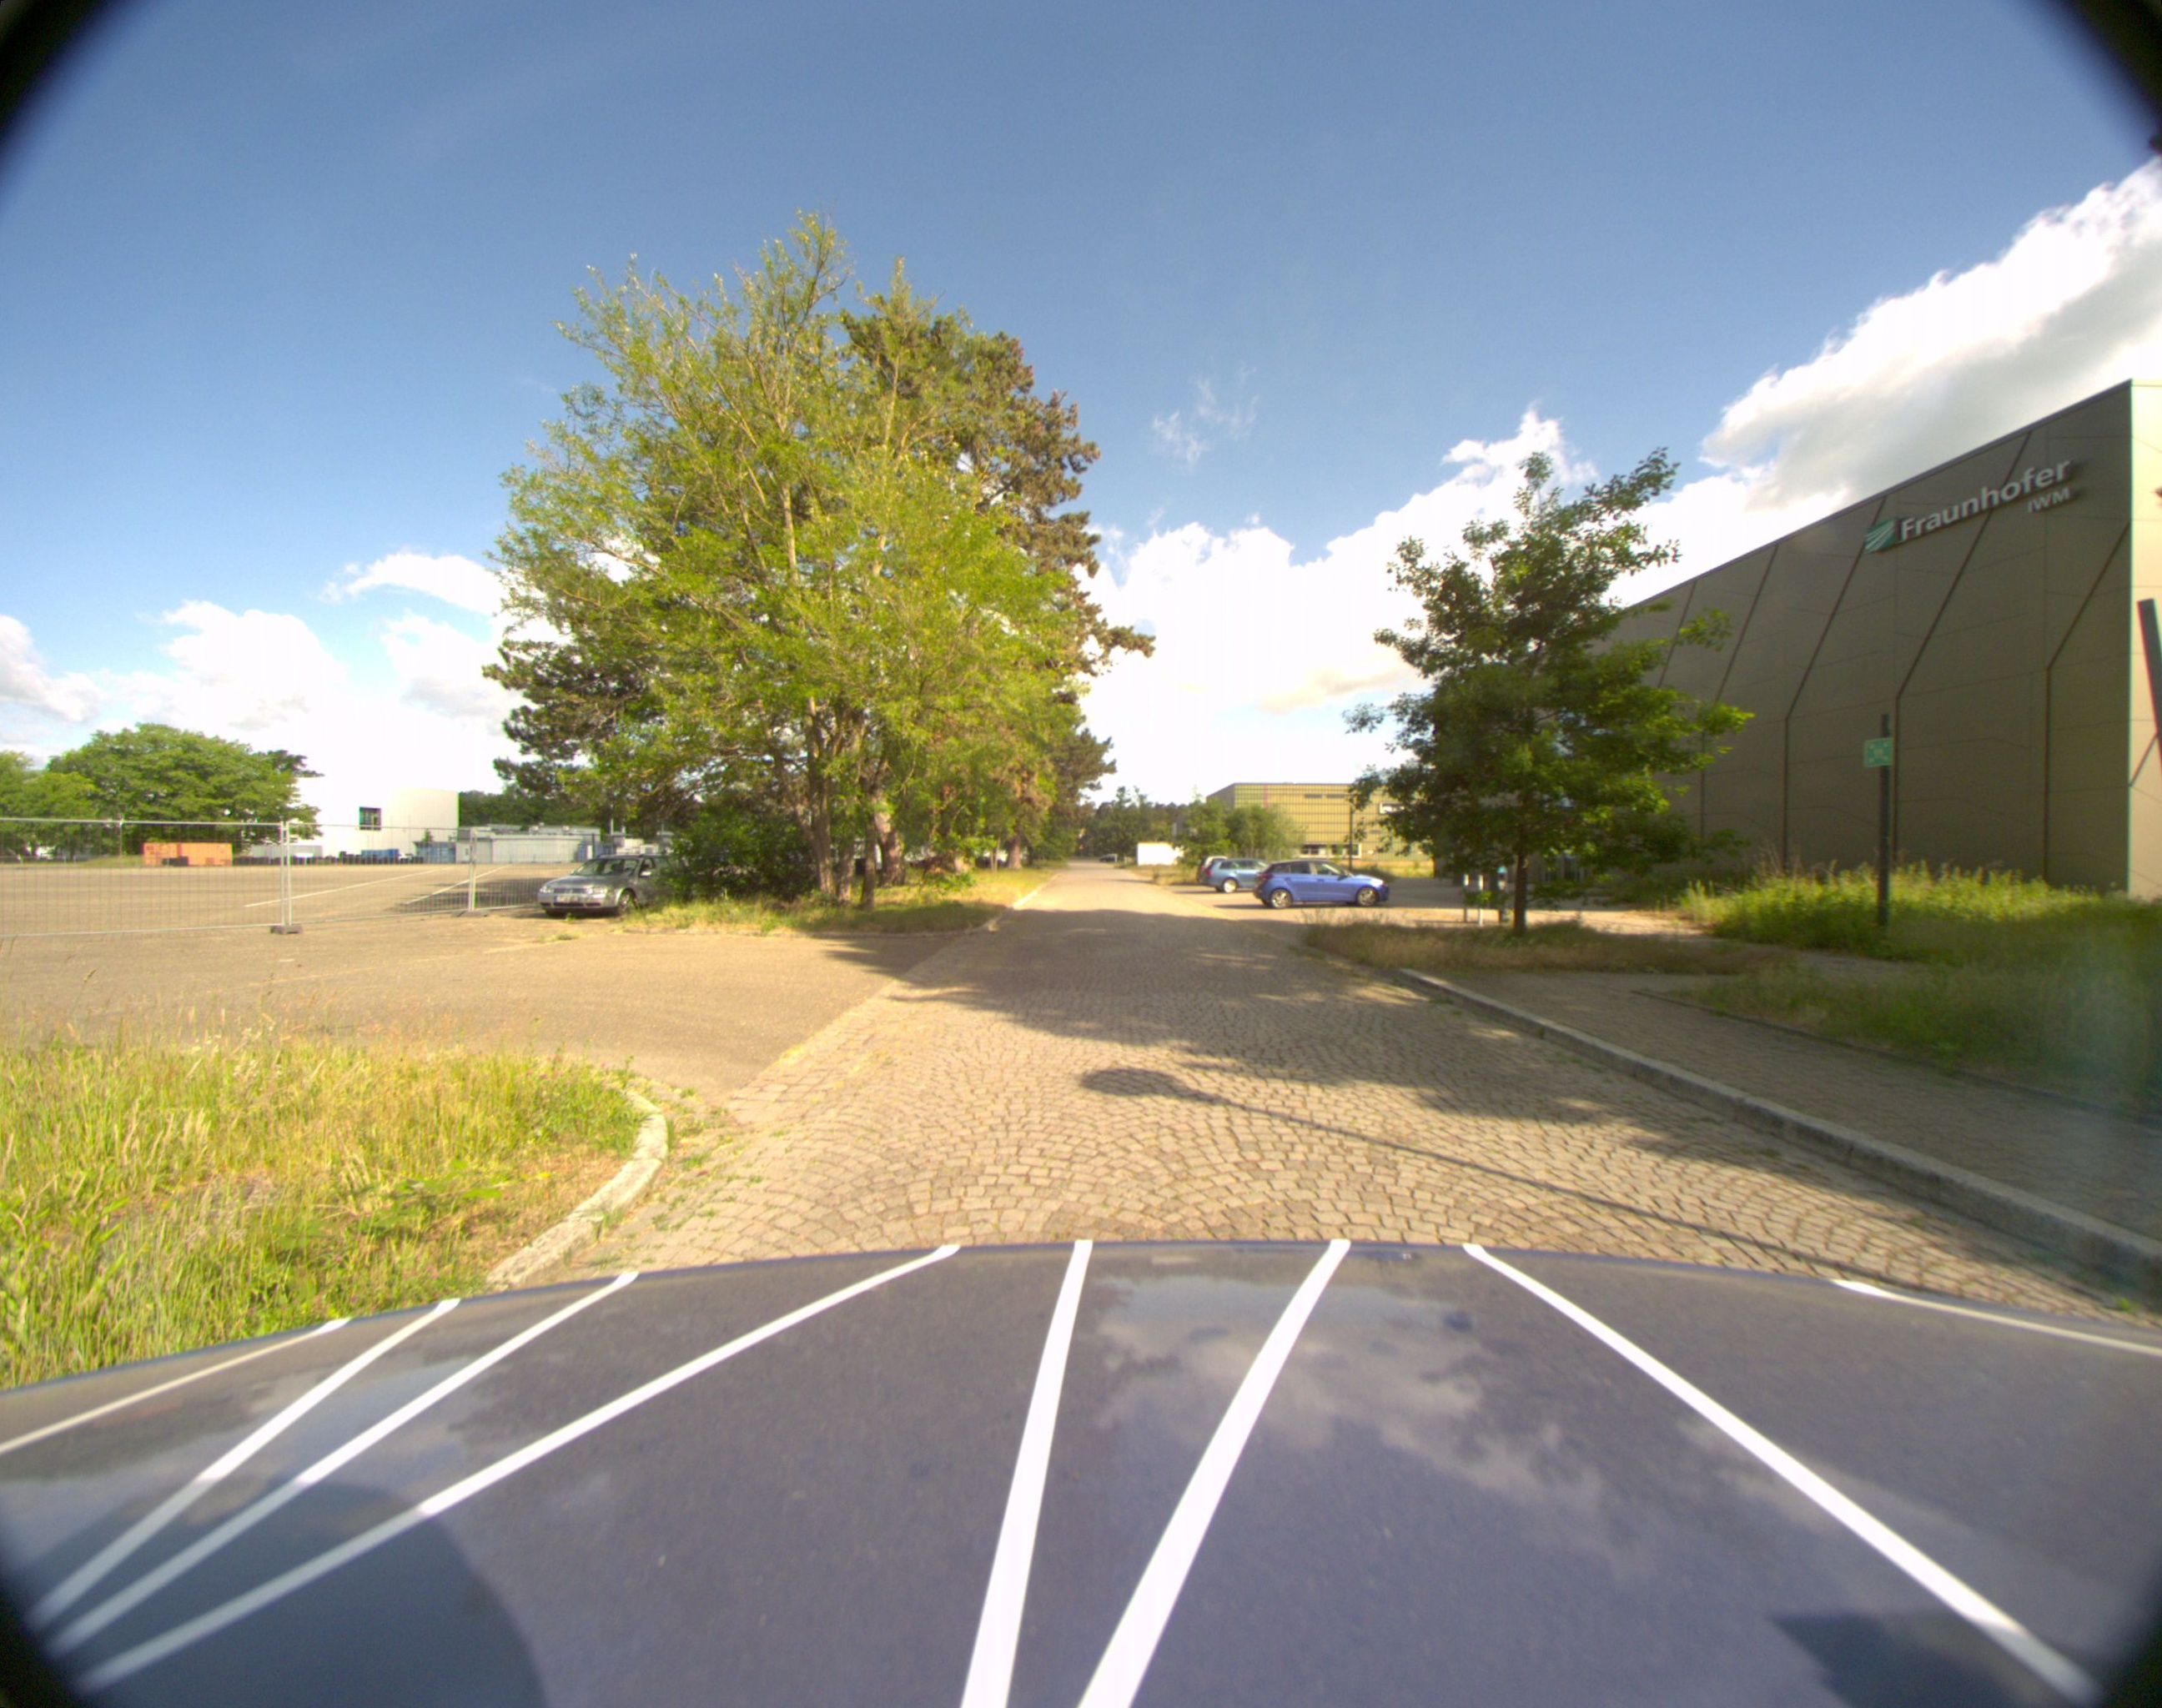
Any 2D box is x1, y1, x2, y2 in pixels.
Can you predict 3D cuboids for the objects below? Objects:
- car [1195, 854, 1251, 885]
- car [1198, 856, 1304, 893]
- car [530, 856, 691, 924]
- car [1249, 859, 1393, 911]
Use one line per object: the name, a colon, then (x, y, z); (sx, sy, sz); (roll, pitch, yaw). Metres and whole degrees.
car: (7.516, 0.831, 40.341); (2.652, 1.559, 1.481); (-1, 1, -1)
car: (7.323, 0.869, 32.954); (4.180, 1.465, 1.734); (-1, 0, -2)
car: (-11.186, 0.780, 18.422); (1.579, 1.435, 3.985); (0, 0, -3)
car: (7.330, 0.936, 23.497); (3.918, 1.459, 1.735); (-1, 0, 3)
